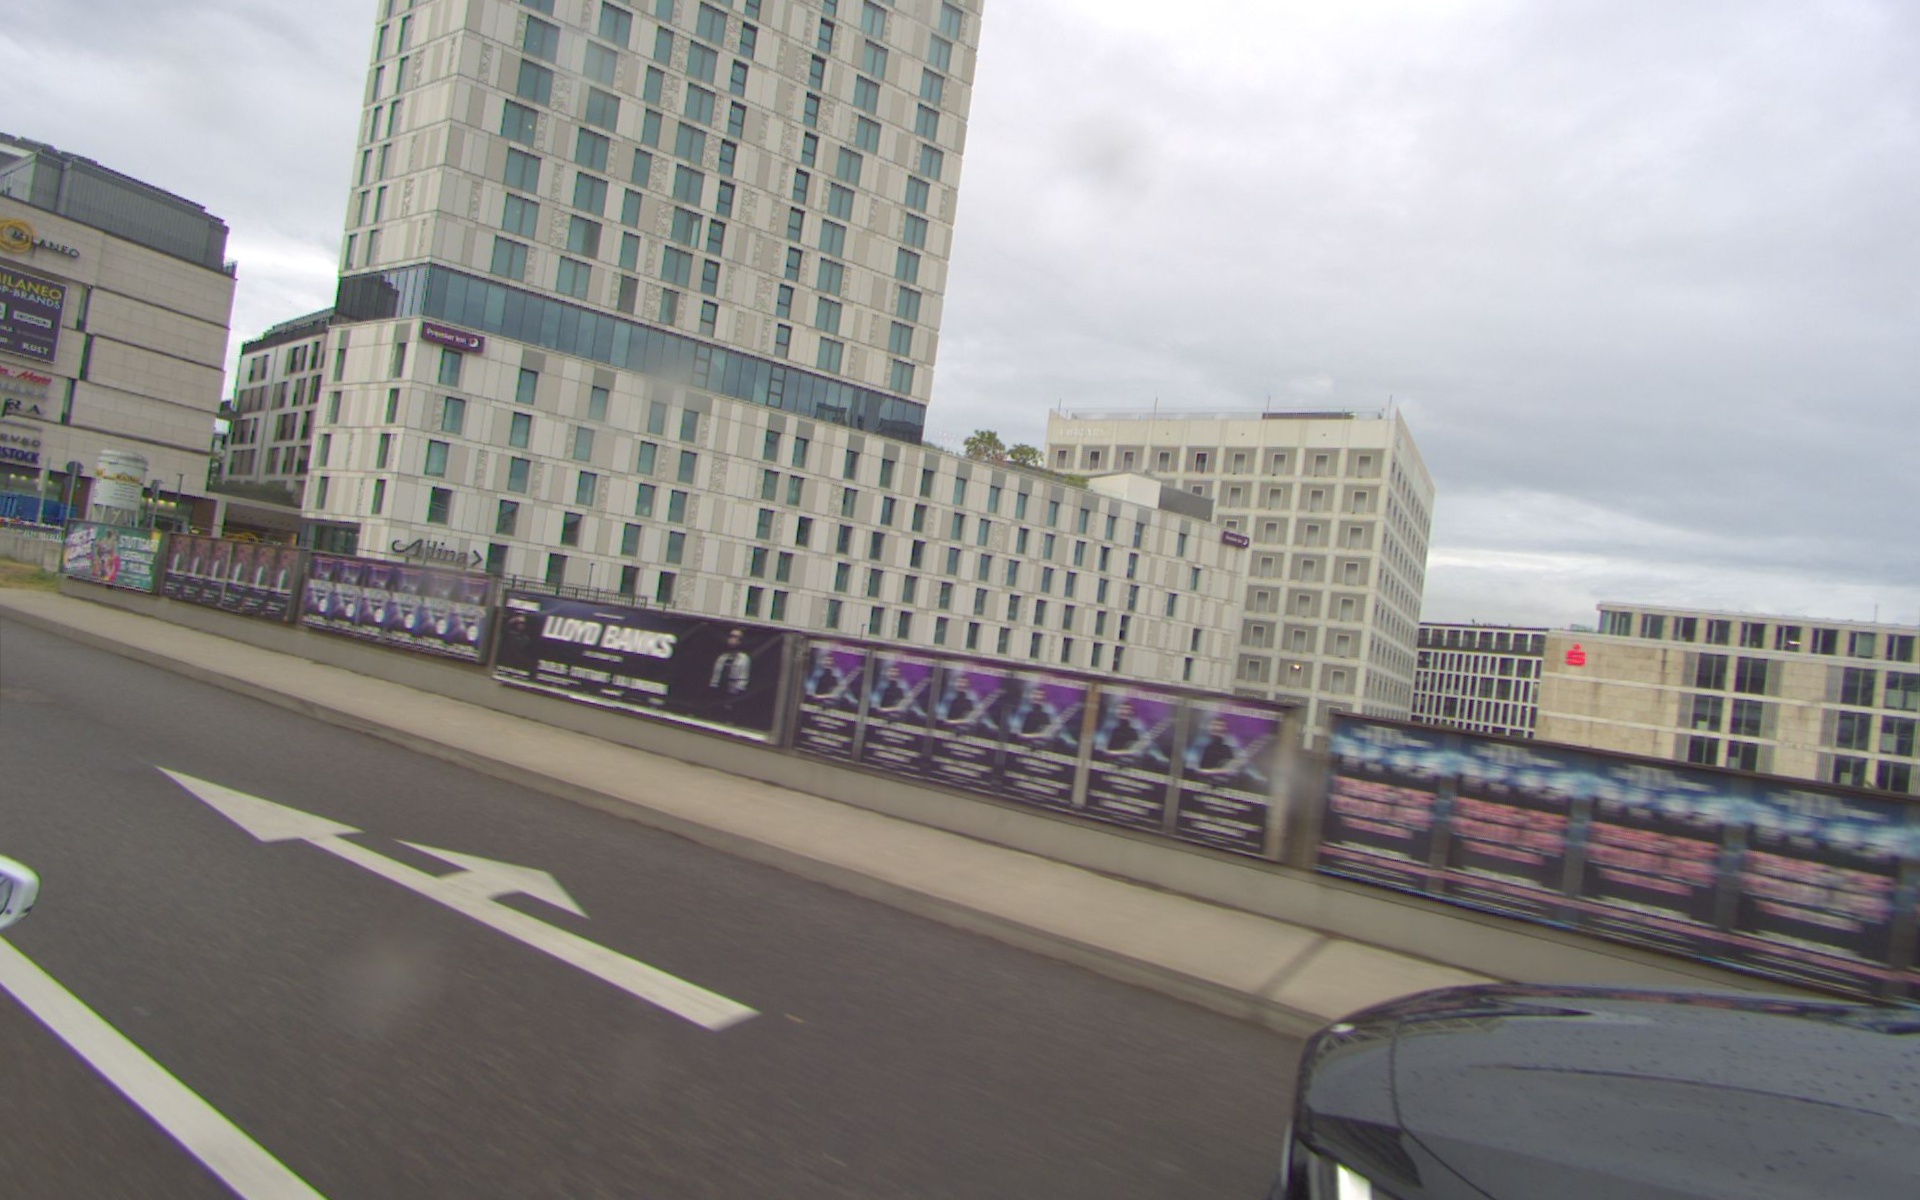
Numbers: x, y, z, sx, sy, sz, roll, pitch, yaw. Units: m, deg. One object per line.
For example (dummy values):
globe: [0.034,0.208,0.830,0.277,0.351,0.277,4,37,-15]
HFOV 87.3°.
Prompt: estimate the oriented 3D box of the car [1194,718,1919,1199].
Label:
car: [2.522,1.133,1.186,4.086,1.392,1.727,6,-2,31]
